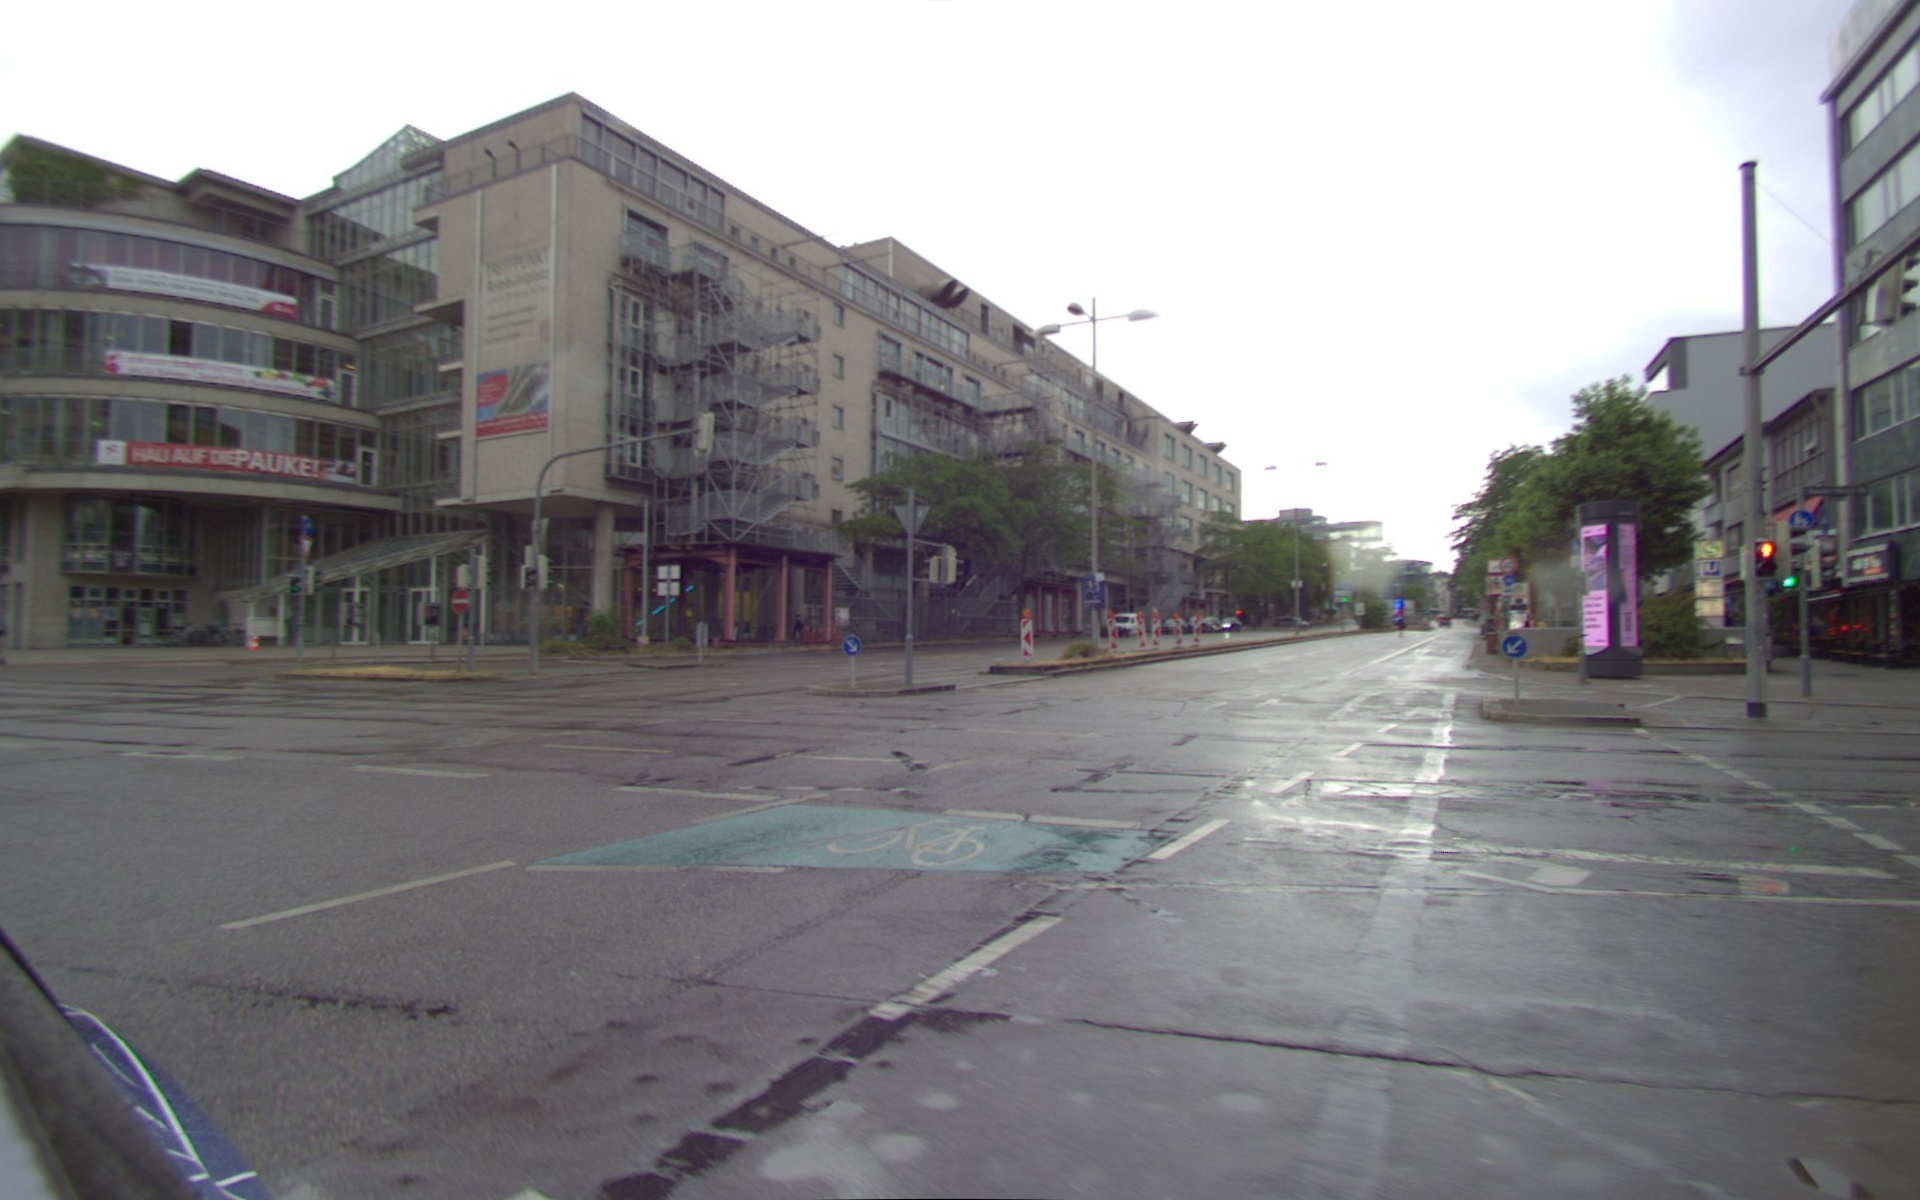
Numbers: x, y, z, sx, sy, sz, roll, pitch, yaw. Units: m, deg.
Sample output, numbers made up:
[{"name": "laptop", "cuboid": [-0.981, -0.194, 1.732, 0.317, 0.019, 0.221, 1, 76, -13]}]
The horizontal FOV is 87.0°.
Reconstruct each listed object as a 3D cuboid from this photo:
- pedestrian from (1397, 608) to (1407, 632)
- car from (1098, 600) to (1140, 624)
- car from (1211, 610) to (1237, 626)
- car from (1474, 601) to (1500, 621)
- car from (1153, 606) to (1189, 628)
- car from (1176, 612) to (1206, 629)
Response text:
[{"name": "pedestrian", "cuboid": [37.451, 1.658, 85.764, 0.614, 2.029, 0.685, -1, -1, 34]}, {"name": "car", "cuboid": [12.260, 0.938, 77.863, 1.990, 1.807, 4.298, -1, -1, 26]}, {"name": "car", "cuboid": [26.981, 1.841, 103.269, 1.749, 1.522, 4.298, 0, -1, 26]}, {"name": "car", "cuboid": [48.791, 1.029, 93.769, 1.990, 1.763, 3.964, 0, -1, 26]}, {"name": "car", "cuboid": [18.123, 1.429, 86.785, 1.990, 1.807, 4.298, -1, -1, 26]}, {"name": "car", "cuboid": [21.302, 1.849, 93.298, 1.749, 1.522, 4.298, 0, -1, 26]}]
